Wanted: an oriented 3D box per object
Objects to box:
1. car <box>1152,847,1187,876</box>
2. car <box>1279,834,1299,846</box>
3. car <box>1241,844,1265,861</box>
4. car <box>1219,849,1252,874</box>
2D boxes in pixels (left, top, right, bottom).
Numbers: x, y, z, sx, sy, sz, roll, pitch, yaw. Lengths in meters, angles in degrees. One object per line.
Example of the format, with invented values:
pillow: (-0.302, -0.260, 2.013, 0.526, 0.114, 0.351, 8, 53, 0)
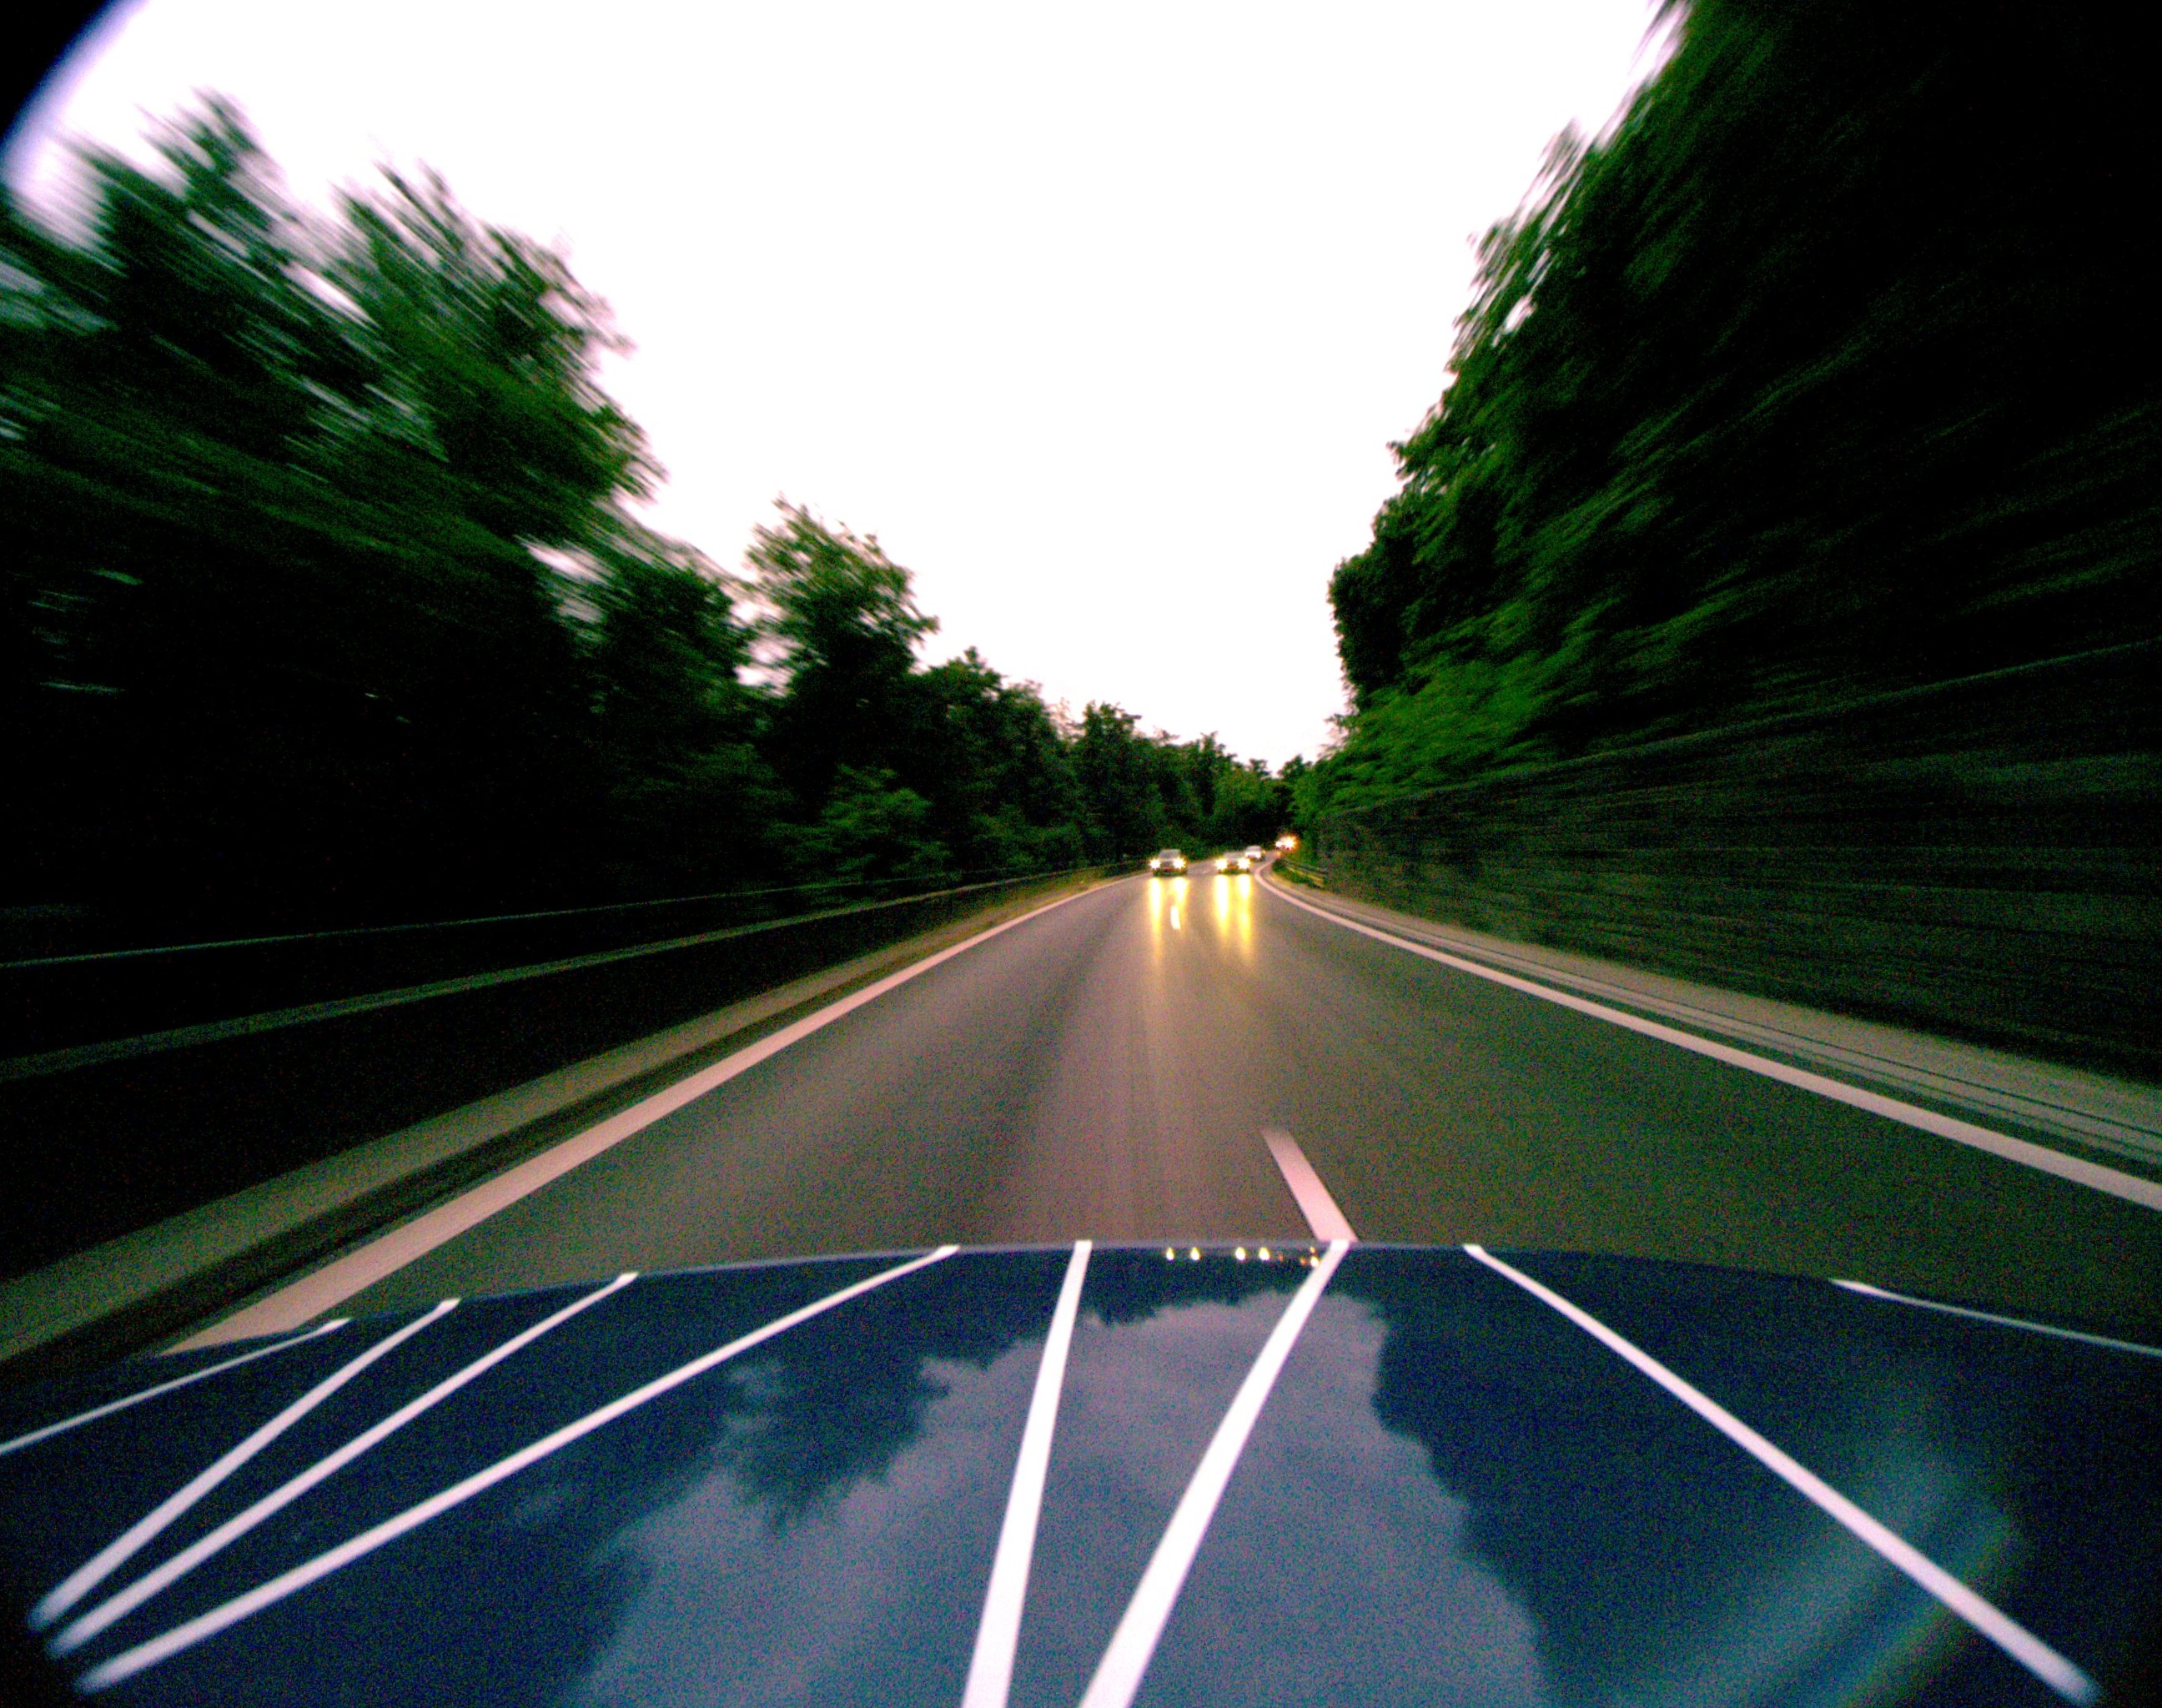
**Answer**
car: (5.694, 0.458, 48.455, 1.997, 1.630, 4.002, -3, 0, 9)
car: (30.918, -2.060, 112.867, 1.995, 1.608, 4.006, -3, 0, 27)
car: (17.006, -0.156, 74.975, 1.996, 1.499, 4.004, -3, 0, 16)
car: (9.911, 0.437, 48.800, 1.997, 1.499, 4.003, 0, 1, 12)
